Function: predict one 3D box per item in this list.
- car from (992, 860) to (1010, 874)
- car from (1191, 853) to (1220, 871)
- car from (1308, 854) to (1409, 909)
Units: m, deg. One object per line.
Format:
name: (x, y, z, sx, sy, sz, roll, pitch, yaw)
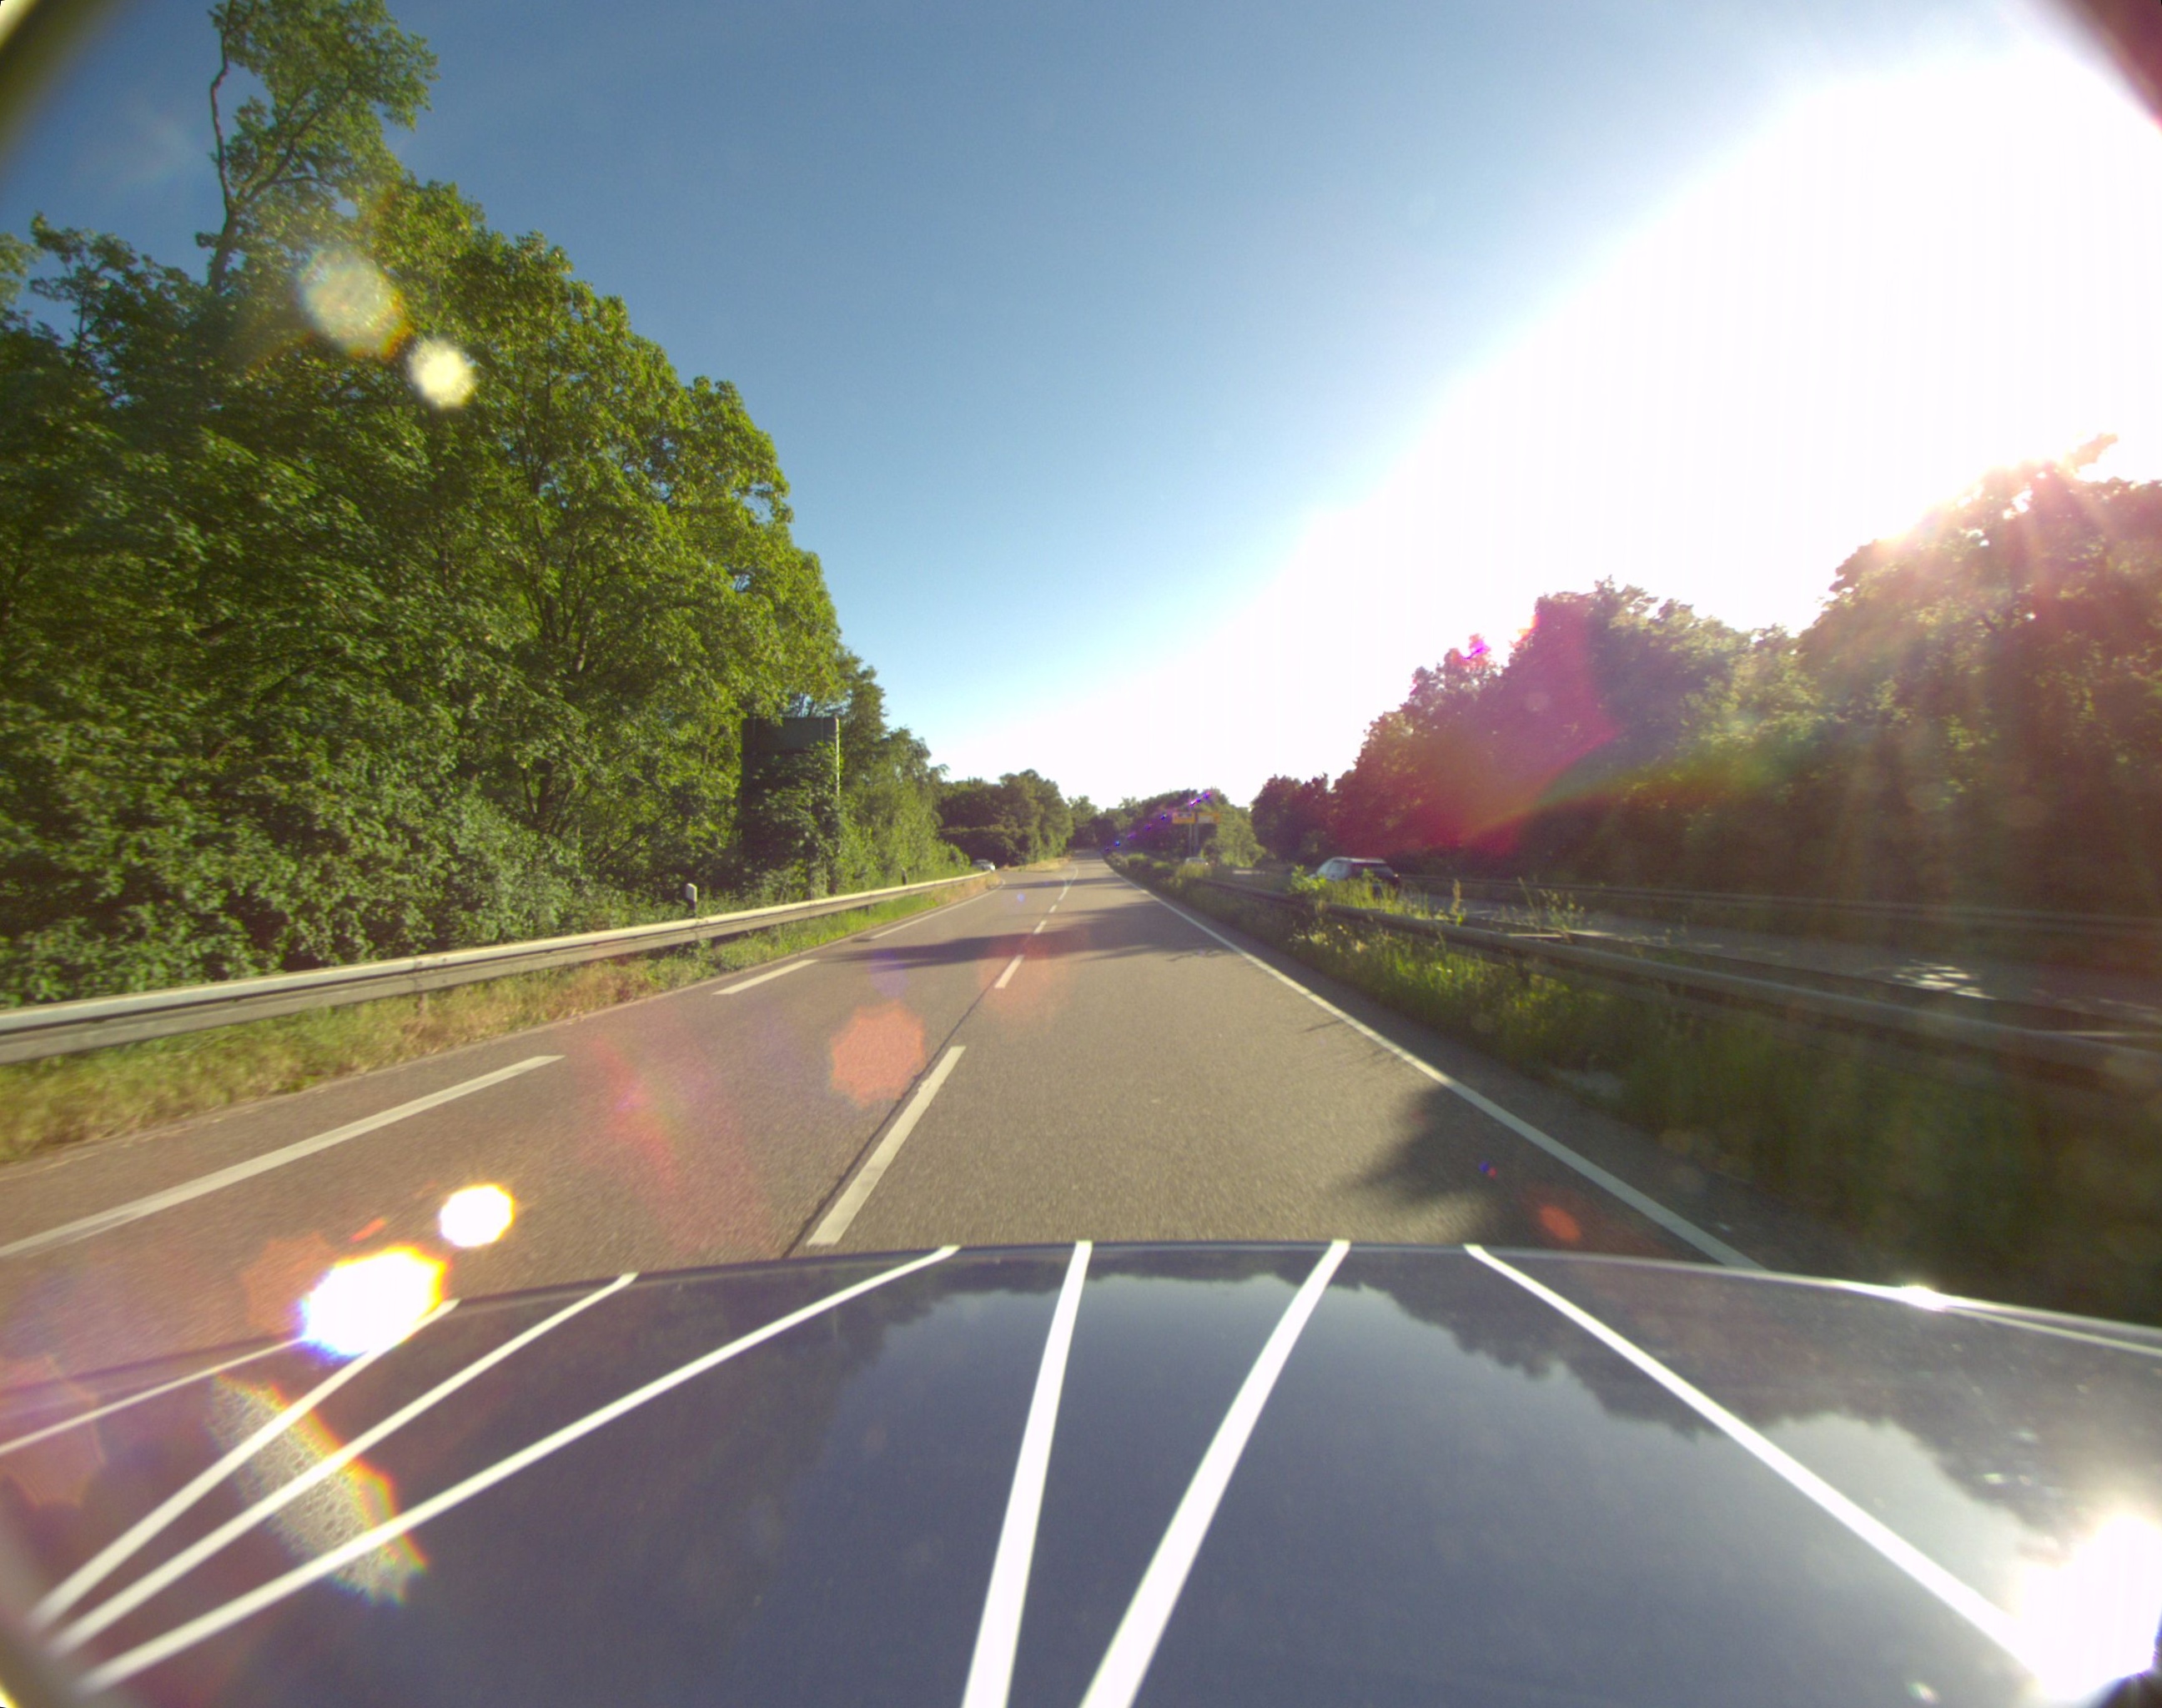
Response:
car: (-8.908, 1.457, 85.046, 1.682, 1.477, 3.390, 0, 0, 0)
car: (9.973, 0.616, 61.322, 1.785, 1.395, 4.553, 0, 0, 2)
car: (8.514, 0.787, 23.719, 1.622, 1.521, 4.609, 0, 0, 2)
